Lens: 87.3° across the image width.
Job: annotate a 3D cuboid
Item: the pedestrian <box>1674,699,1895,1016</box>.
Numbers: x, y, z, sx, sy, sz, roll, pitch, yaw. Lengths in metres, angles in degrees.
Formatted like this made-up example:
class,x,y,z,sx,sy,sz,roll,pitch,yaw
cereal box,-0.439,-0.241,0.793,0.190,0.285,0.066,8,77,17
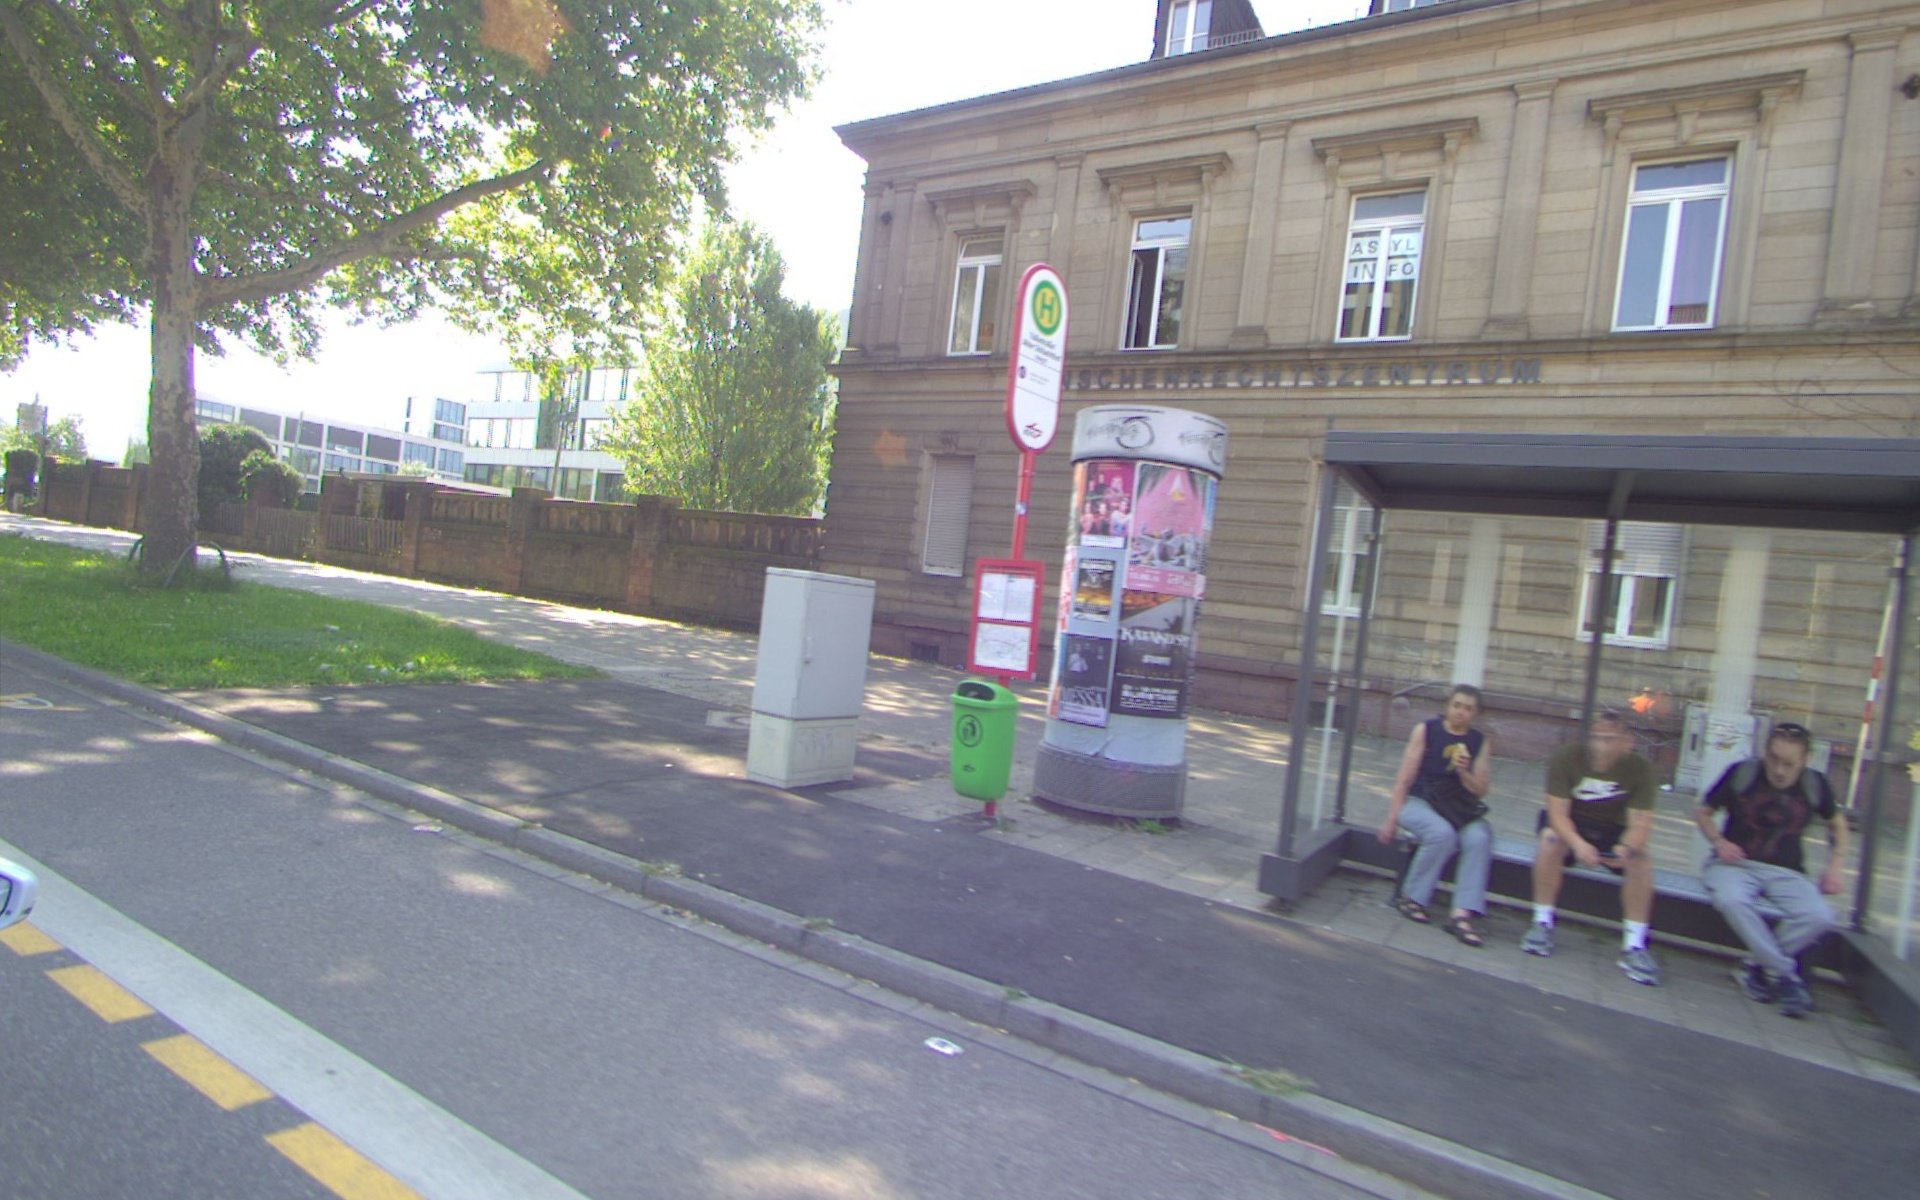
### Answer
class,x,y,z,sx,sy,sz,roll,pitch,yaw
pedestrian,3.847,1.143,4.757,0.601,1.276,0.742,6,-1,31

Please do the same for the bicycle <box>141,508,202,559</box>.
class,x,y,z,sx,sy,sz,roll,pitch,yaw
bicycle,-20.094,-1.702,25.628,1.825,1.103,0.492,7,2,29

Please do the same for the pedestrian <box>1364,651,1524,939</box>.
class,x,y,z,sx,sy,sz,roll,pitch,yaw
pedestrian,2.669,1.016,5.522,0.601,1.382,0.751,6,-1,31

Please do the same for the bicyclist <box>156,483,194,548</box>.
class,x,y,z,sx,sy,sz,roll,pitch,yaw
bicyclist,-19.967,-2.153,25.593,0.586,1.559,0.469,7,2,29

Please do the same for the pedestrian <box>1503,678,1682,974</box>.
class,x,y,z,sx,sy,sz,roll,pitch,yaw
pedestrian,3.143,1.069,5.039,0.601,1.276,0.742,6,-1,31

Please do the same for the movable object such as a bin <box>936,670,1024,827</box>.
class,x,y,z,sx,sy,sz,roll,pitch,yaw
movable object such as a bin,0.130,0.931,6.418,0.379,0.927,0.271,7,2,30
